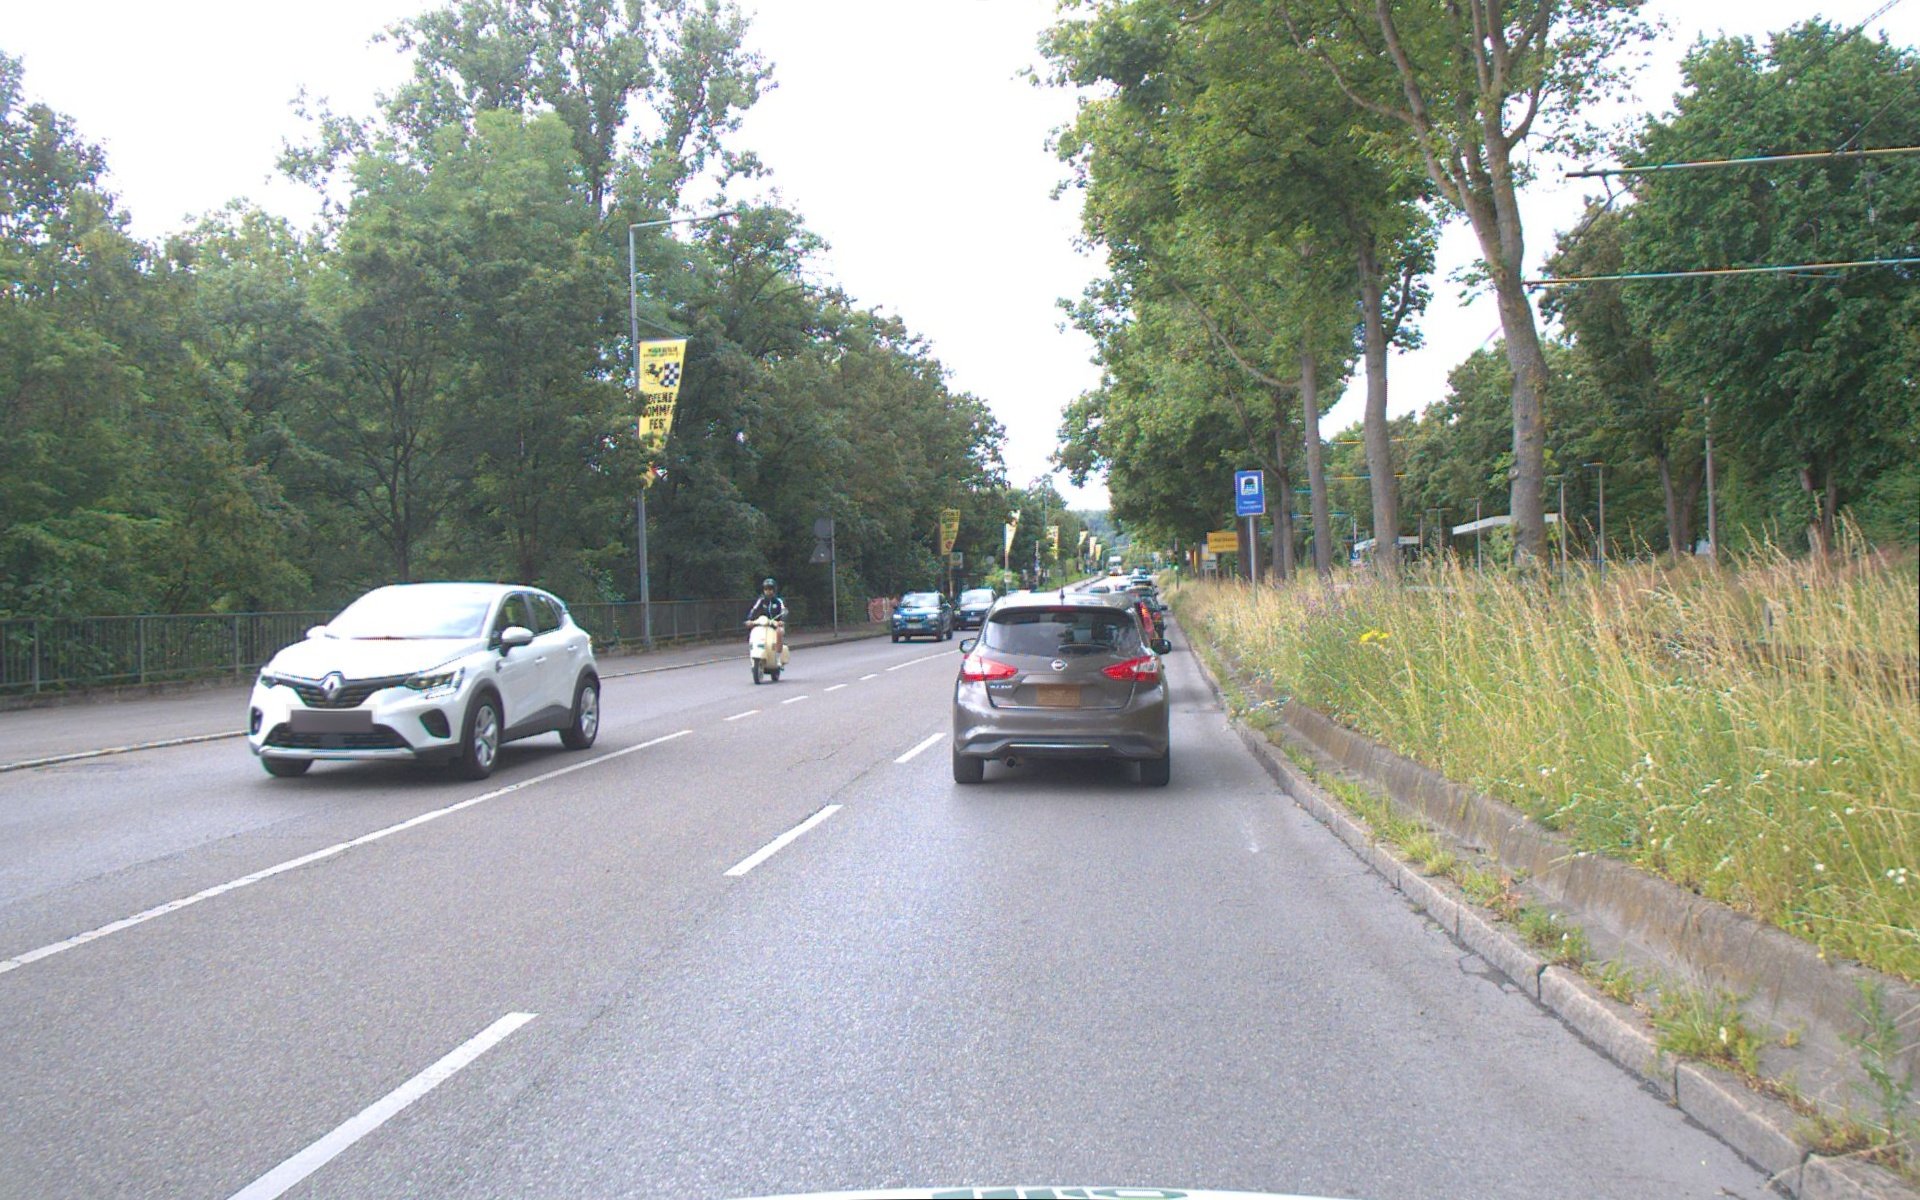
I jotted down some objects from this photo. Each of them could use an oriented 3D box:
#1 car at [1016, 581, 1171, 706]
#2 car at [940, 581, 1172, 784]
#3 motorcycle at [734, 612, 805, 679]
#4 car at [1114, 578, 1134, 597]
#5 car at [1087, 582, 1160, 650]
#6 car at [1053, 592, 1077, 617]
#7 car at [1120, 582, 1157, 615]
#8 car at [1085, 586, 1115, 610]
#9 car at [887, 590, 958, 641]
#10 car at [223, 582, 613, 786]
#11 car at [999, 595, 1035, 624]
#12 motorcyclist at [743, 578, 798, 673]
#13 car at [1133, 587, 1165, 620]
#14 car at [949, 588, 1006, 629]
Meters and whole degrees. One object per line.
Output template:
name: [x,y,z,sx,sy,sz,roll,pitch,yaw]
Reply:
car: [1.798,0.601,23.459,1.854,1.601,3.999,0,-1,0]
car: [0.811,0.659,14.501,1.737,1.520,4.001,0,-1,2]
motorcycle: [-3.170,0.746,27.662,0.729,1.051,1.890,0,0,8]
car: [14.083,-1.068,142.041,1.682,1.426,3.727,-2,-2,6]
car: [4.014,0.395,41.075,1.545,1.565,4.001,-2,-1,3]
car: [8.145,0.353,127.921,1.682,1.723,3.727,-2,-2,6]
car: [8.848,-0.035,81.909,1.766,1.567,4.003,1,-1,7]
car: [9.571,-0.107,112.571,1.812,1.512,4.424,-1,-1,8]
car: [-1.137,0.521,51.610,1.684,1.467,4.002,-2,-2,6]
car: [-4.469,0.614,14.319,1.729,1.505,4.003,0,0,6]
car: [3.163,0.558,90.977,1.715,1.445,4.002,-2,-2,5]
motorcyclist: [-3.170,0.424,27.702,0.729,1.566,0.791,0,0,8]
car: [10.808,0.203,94.742,1.682,1.723,4.002,-2,-2,6]
car: [0.717,0.316,64.326,1.779,1.488,4.003,-1,0,7]
